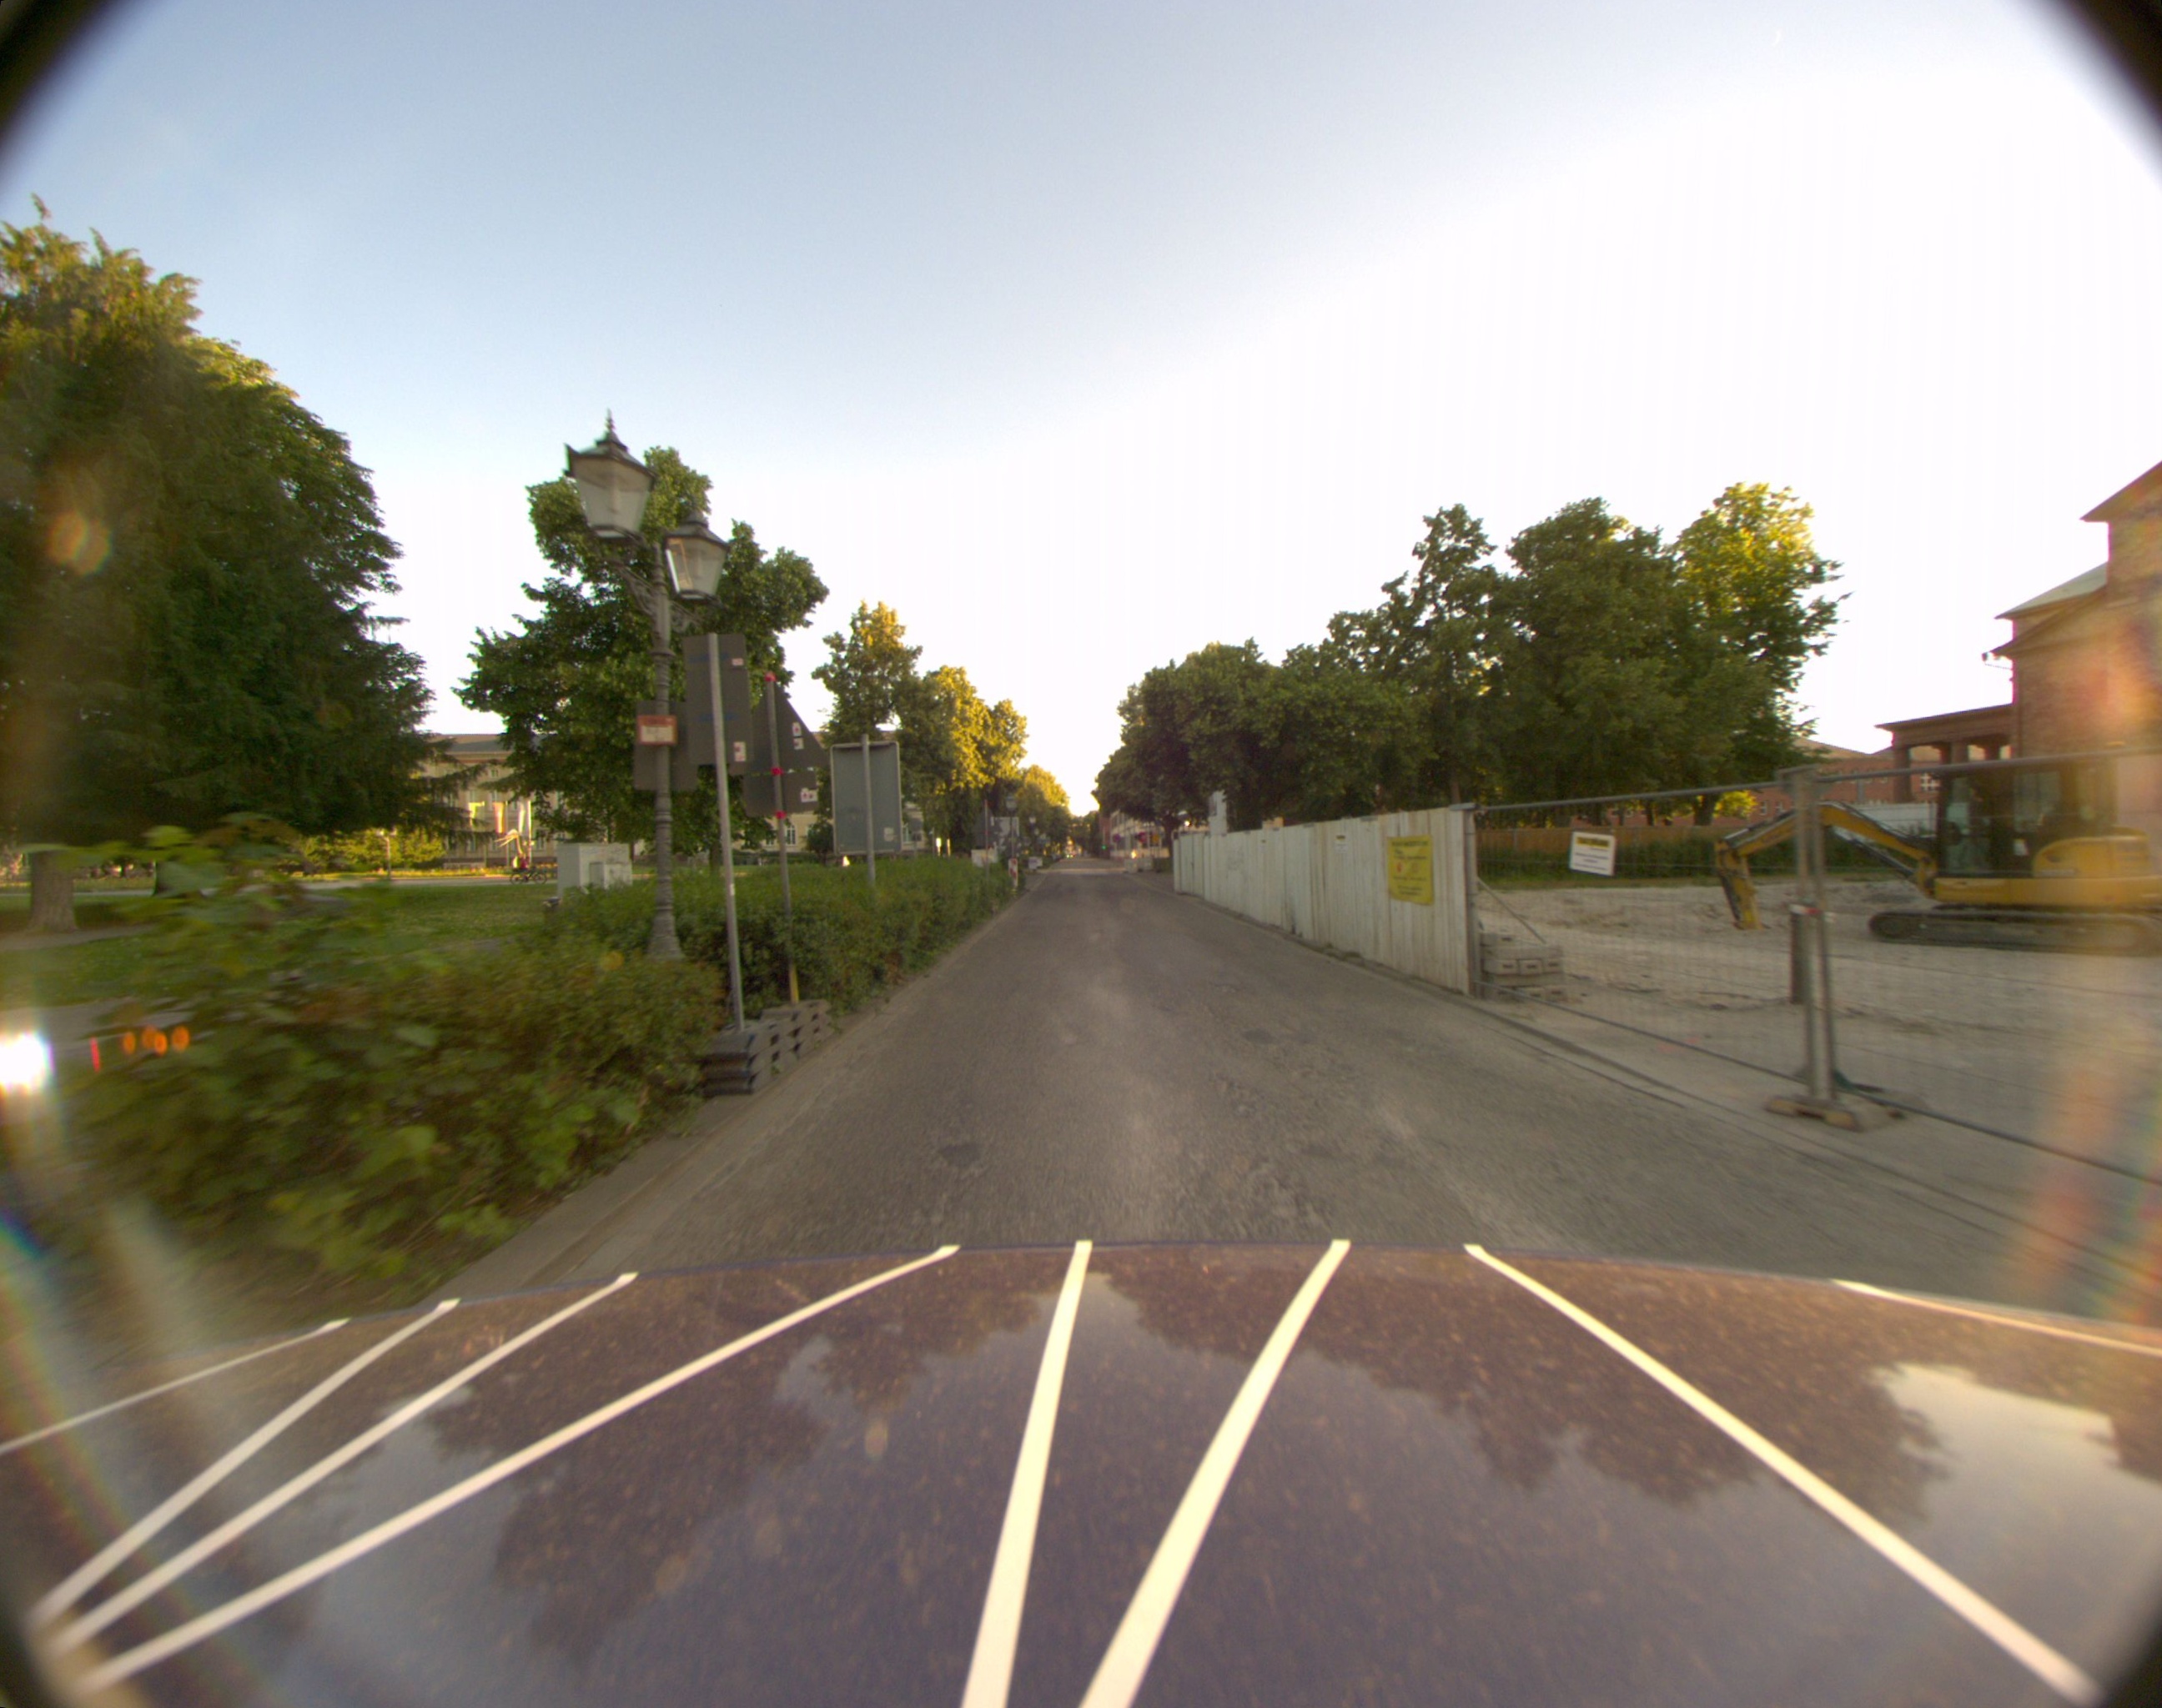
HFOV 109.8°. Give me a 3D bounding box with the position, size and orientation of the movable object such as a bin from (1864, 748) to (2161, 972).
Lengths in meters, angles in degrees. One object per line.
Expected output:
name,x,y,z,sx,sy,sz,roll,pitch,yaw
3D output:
movable object such as a bin,13.029,0.048,10.317,2.161,2.588,2.742,-1,1,-23

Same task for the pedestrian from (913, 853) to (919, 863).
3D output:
pedestrian,-20.429,0.512,94.264,0.605,1.195,0.394,-1,1,-41

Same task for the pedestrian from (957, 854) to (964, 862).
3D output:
pedestrian,-15.270,0.507,96.314,0.798,1.044,0.394,-1,1,-37

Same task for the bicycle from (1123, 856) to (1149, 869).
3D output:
bicycle,4.993,0.772,69.050,2.339,1.175,0.655,0,1,24

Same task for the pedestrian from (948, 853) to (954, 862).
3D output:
pedestrian,-16.338,0.439,95.660,0.605,1.044,0.394,-1,1,-34

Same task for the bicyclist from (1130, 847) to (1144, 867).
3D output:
bicyclist,5.073,0.285,69.004,1.057,1.793,0.674,-1,0,24

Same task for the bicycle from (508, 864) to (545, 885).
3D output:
bicycle,-33.534,1.239,45.943,1.778,1.170,0.564,-1,1,-35

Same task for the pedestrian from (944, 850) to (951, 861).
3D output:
pedestrian,-18.494,0.186,105.211,0.754,1.435,0.816,-1,1,-35

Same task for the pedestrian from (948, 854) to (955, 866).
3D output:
pedestrian,-12.535,0.582,73.709,0.608,1.197,0.666,-1,1,-6

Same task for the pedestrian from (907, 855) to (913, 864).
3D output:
pedestrian,-21.082,0.645,93.574,0.394,1.102,0.605,0,1,44

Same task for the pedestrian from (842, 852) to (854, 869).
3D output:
pedestrian,-21.991,0.584,71.689,0.859,1.616,0.757,-1,1,-3

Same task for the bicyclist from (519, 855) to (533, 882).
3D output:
bicyclist,-33.544,0.847,45.937,0.678,1.623,0.657,-1,1,-35

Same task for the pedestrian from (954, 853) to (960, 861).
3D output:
pedestrian,-15.610,0.364,95.400,0.605,1.044,0.394,-1,1,-37
